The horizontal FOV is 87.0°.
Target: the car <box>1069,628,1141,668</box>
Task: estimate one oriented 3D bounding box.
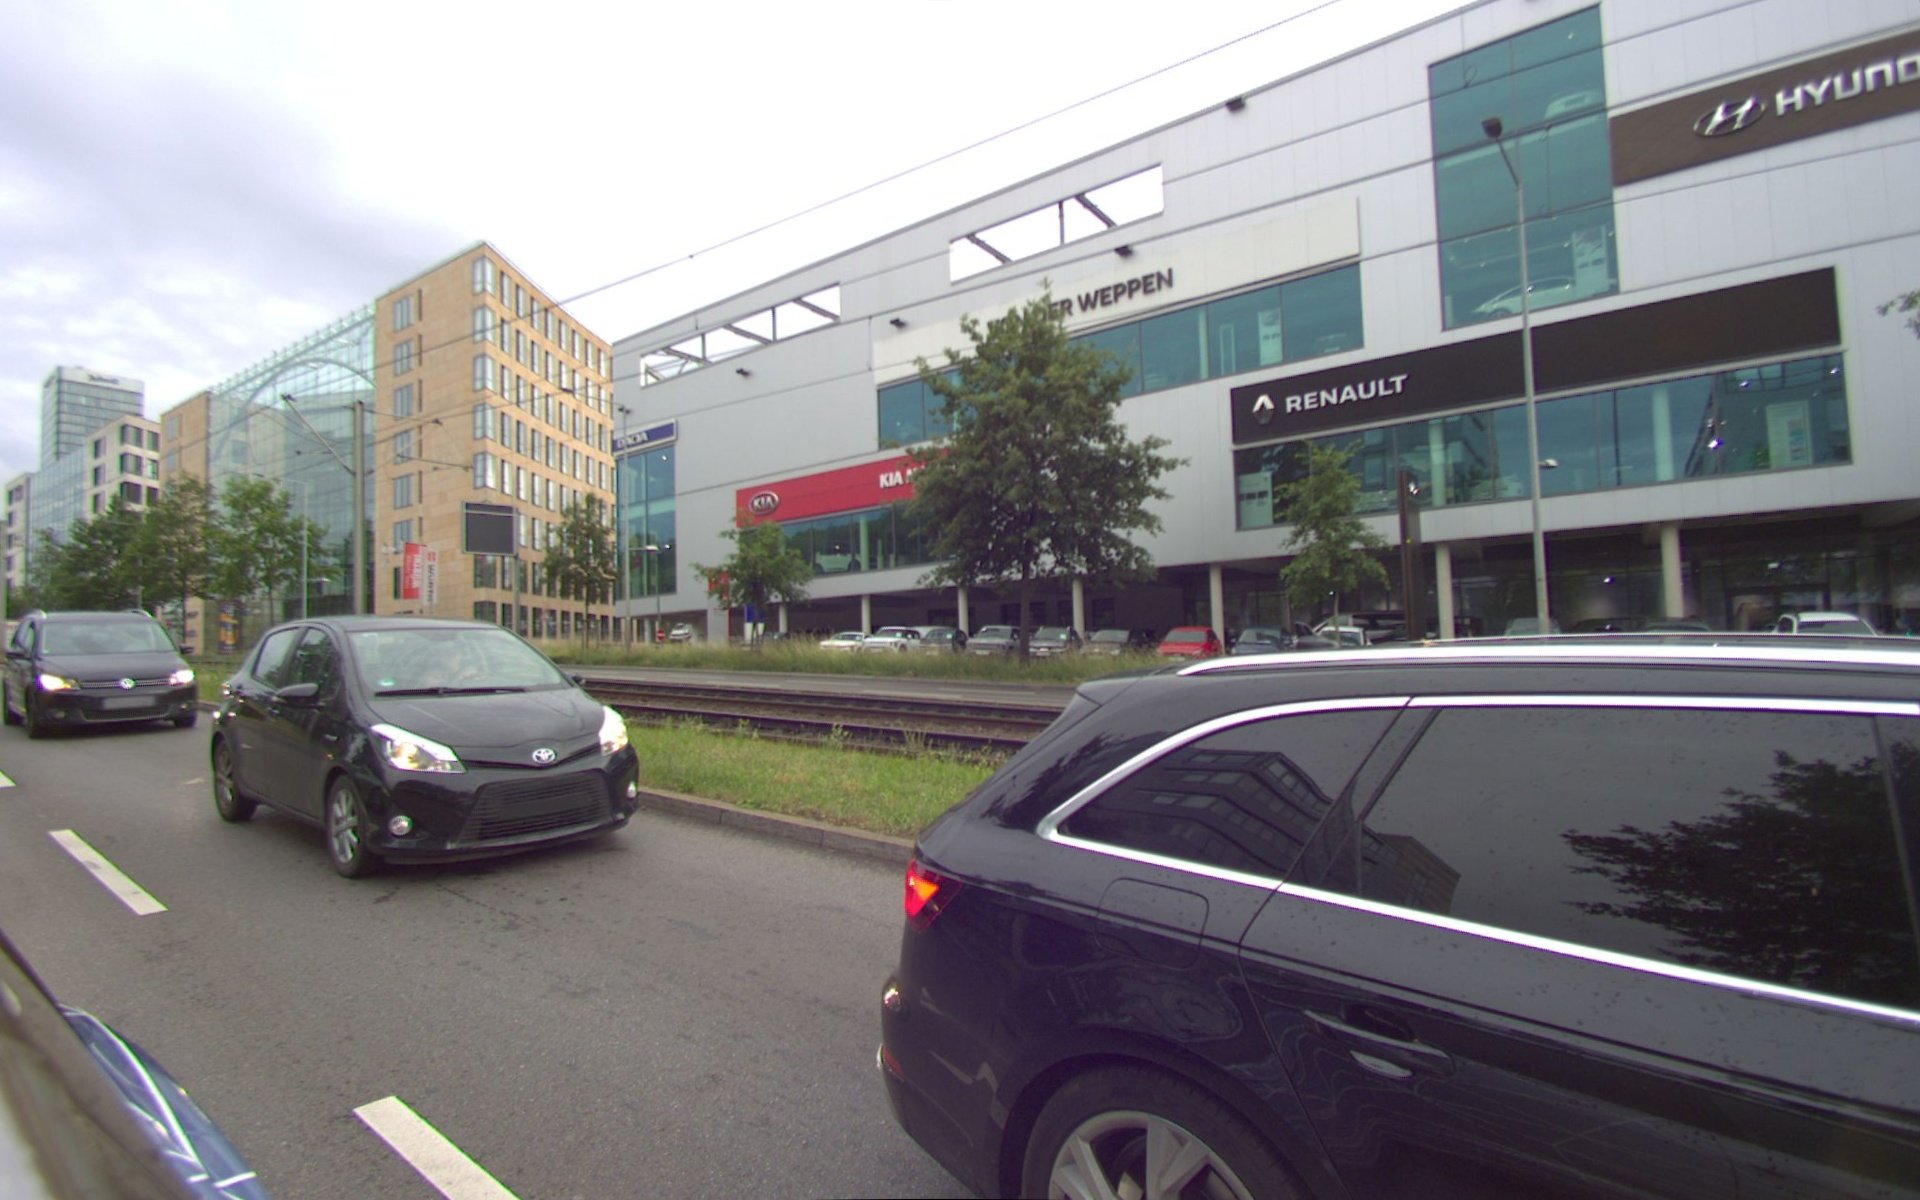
[{"bbox_3d":[5.252,1.699,36.317,1.688,1.190,3.498,-2,1,24],"label":"car"}]

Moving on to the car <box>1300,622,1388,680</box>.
[{"bbox_3d":[11.956,1.528,31.339,1.914,1.470,4.005,-1,1,30],"label":"car"}]

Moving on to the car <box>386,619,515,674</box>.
[{"bbox_3d":[-17.274,1.562,34.243,4.833,1.733,1.975,-2,-4,38],"label":"car"}]

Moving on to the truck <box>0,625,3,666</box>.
[{"bbox_3d":[-93.796,4.491,96.014,7.017,4.276,3.106,-2,-4,37],"label":"truck"}]

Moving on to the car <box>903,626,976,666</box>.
[{"bbox_3d":[-0.782,1.827,41.025,1.688,1.362,3.499,-2,1,23],"label":"car"}]

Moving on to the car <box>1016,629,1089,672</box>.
[{"bbox_3d":[3.504,1.851,37.777,1.688,1.362,3.498,-2,1,24],"label":"car"}]

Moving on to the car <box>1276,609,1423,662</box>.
[{"bbox_3d":[13.963,1.267,36.492,4.488,1.796,1.997,-1,-1,5],"label":"car"}]

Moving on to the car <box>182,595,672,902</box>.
[{"bbox_3d":[-3.825,0.792,7.002,3.823,1.544,1.683,-1,-1,40],"label":"car"}]

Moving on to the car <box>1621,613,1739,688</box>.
[{"bbox_3d":[18.062,1.207,25.579,1.992,1.562,4.331,-1,1,30],"label":"car"}]

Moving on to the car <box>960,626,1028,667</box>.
[{"bbox_3d":[1.389,1.807,39.704,1.686,1.362,3.503,-2,1,20],"label":"car"}]

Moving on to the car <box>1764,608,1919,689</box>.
[{"bbox_3d":[20.601,1.059,23.803,1.992,1.562,4.331,-1,1,30],"label":"car"}]

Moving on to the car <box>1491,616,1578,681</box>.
[{"bbox_3d":[15.863,1.283,27.965,1.925,1.470,3.981,-1,1,30],"label":"car"}]

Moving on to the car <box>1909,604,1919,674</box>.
[{"bbox_3d":[22.839,0.959,22.182,1.992,1.627,4.331,-1,1,30],"label":"car"}]

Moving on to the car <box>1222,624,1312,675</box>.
[{"bbox_3d":[10.082,1.553,33.036,1.914,1.362,4.005,-1,1,30],"label":"car"}]

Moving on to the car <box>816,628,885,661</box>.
[{"bbox_3d":[-4.779,1.954,44.632,1.685,1.196,3.643,-2,1,18],"label":"car"}]

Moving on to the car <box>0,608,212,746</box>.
[{"bbox_3d":[-12.118,0.968,14.186,4.315,1.619,1.763,-2,0,42],"label":"car"}]

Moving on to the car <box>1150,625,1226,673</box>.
[{"bbox_3d":[7.819,1.628,34.439,1.789,1.362,3.903,-2,1,24],"label":"car"}]

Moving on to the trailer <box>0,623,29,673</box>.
[{"bbox_3d":[-88.027,4.291,91.639,13.260,4.363,3.104,-2,-4,38],"label":"trailer"}]

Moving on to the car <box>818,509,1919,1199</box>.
[{"bbox_3d":[1.958,0.636,1.442,4.511,1.478,1.762,-2,-2,41],"label":"car"}]

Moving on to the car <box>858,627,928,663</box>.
[{"bbox_3d":[-2.789,1.884,42.956,1.685,1.304,3.643,-2,1,18],"label":"car"}]
